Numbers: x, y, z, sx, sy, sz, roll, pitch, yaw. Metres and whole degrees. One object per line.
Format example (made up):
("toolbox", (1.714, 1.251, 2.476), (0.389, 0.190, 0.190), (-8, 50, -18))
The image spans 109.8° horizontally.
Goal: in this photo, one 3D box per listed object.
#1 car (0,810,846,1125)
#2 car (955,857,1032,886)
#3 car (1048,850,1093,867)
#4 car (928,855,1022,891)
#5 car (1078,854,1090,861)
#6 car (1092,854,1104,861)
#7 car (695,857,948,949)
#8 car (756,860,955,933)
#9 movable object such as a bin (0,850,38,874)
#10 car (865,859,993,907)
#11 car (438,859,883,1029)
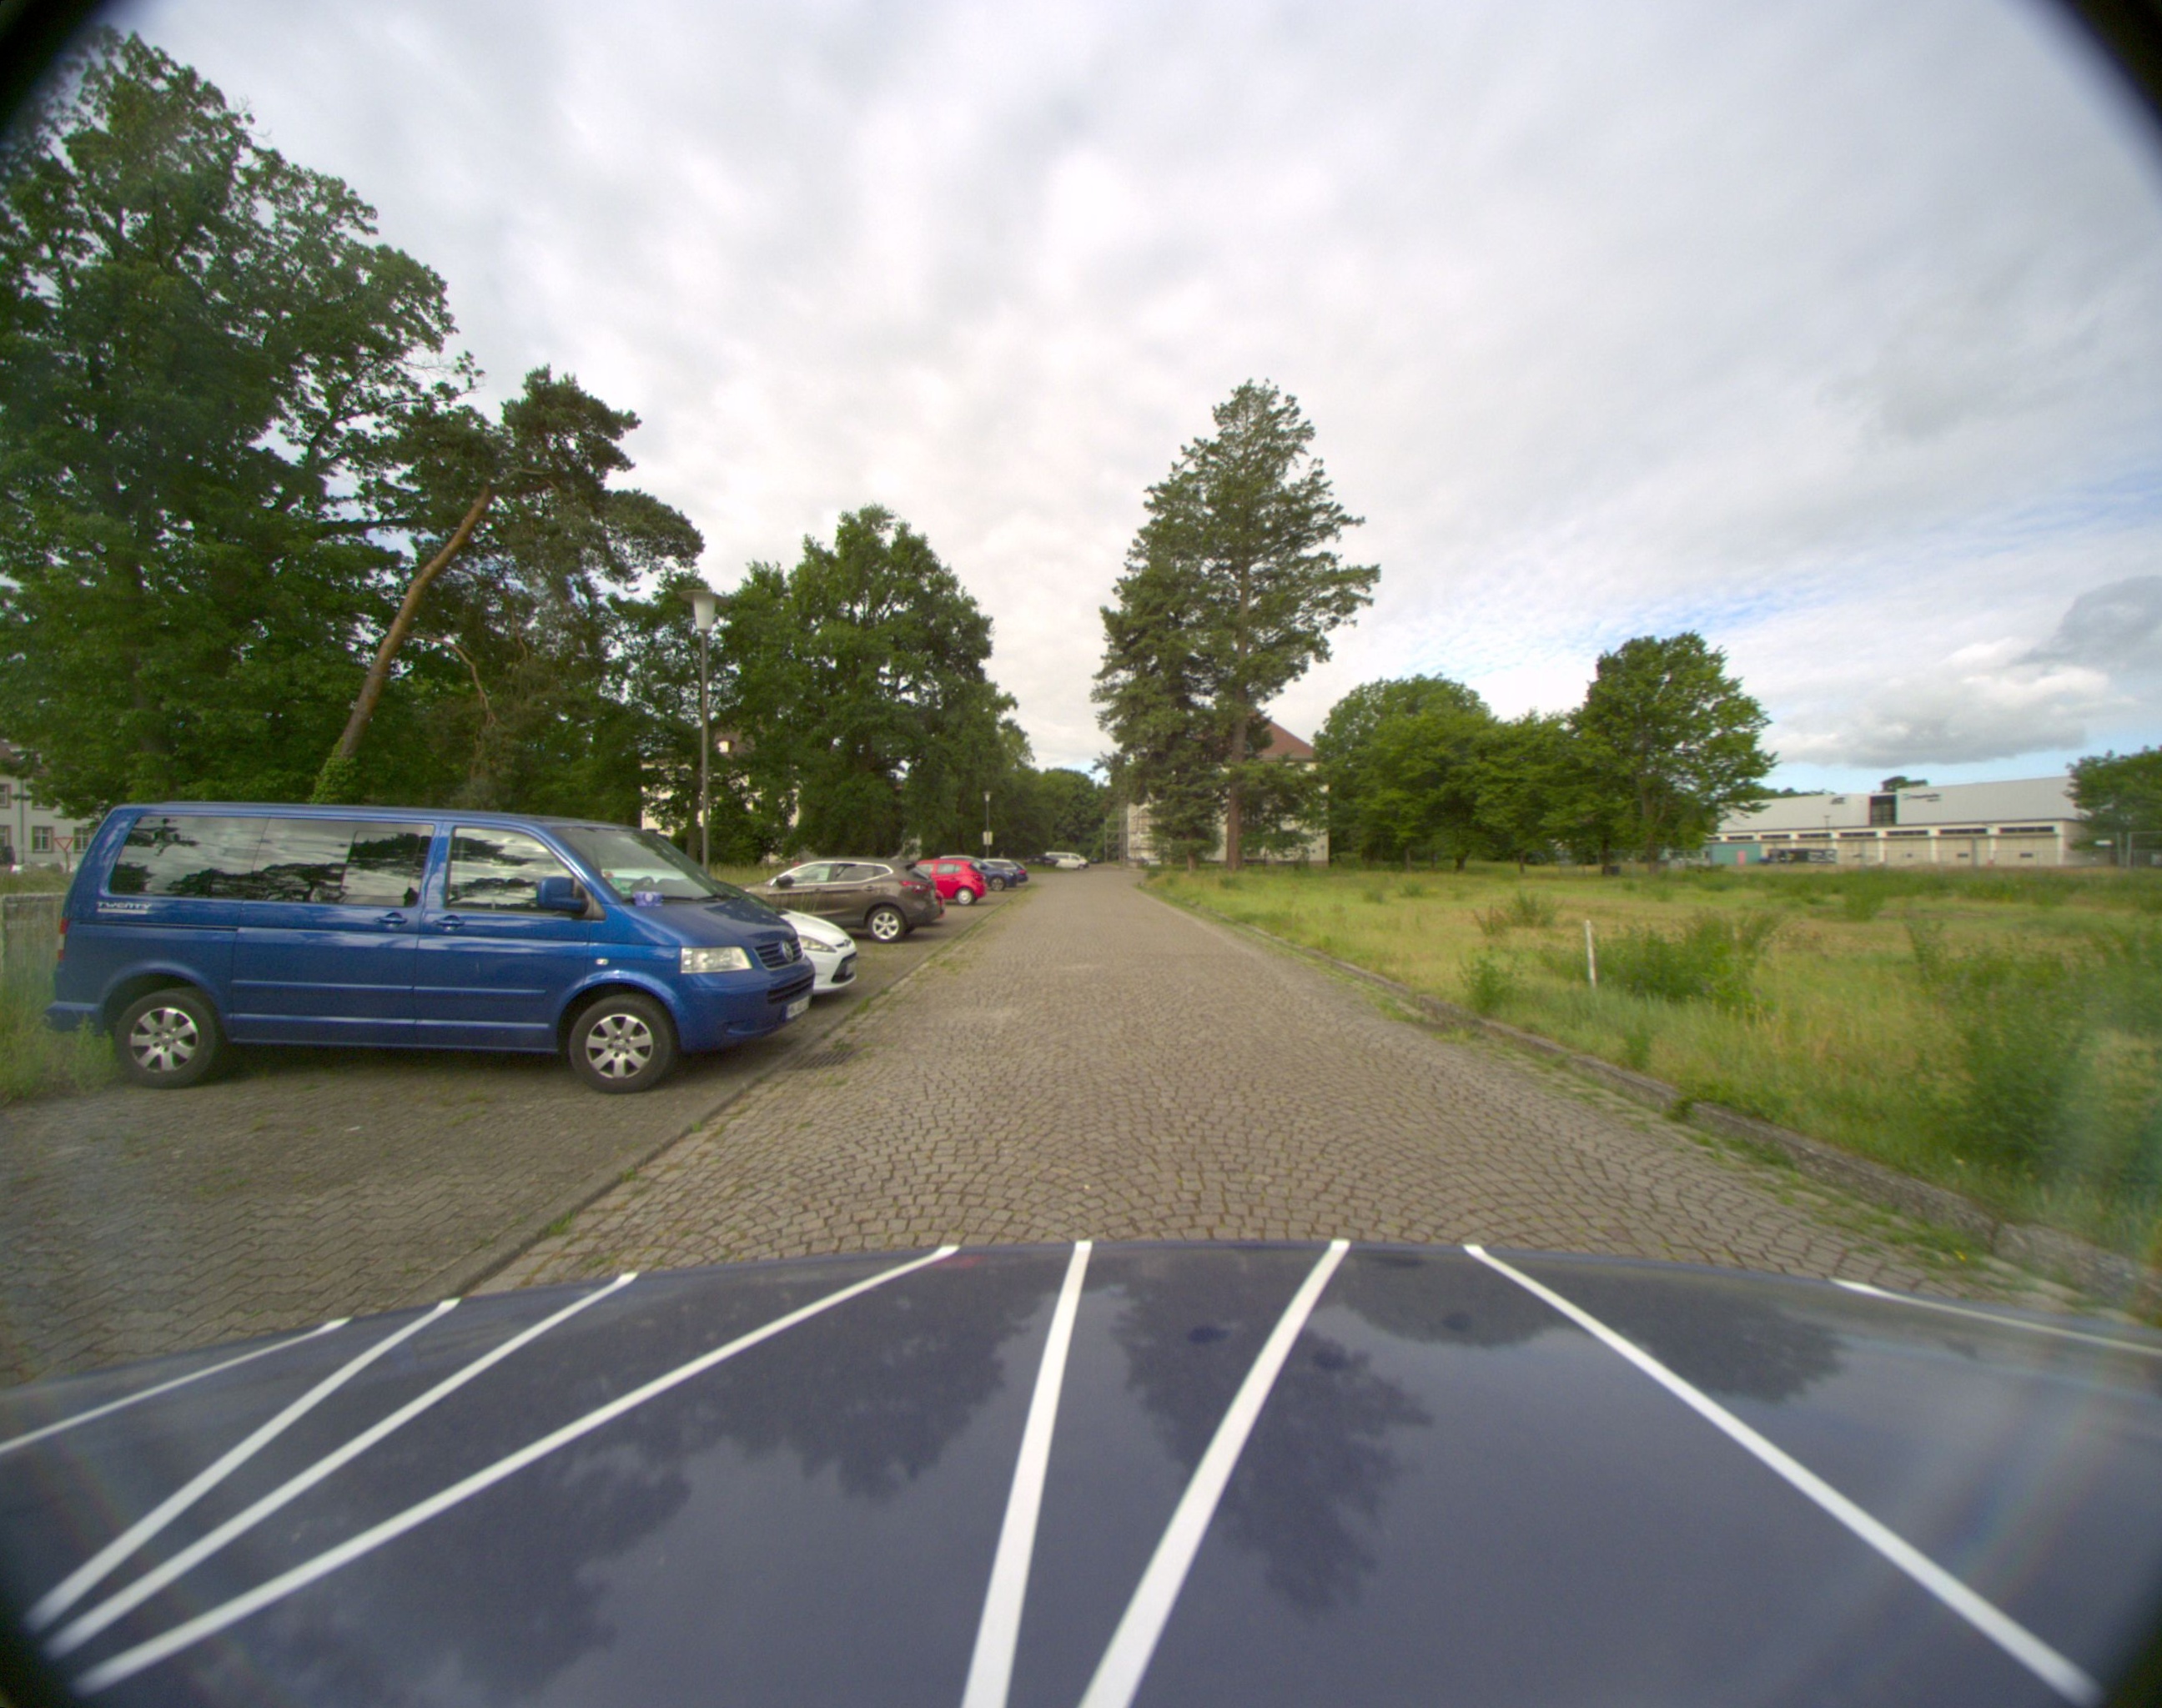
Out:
("car", (-4.578, 0.756, 5.943), (4.820, 1.934, 2.003), (2, 0, -2))
("car", (-4.553, 0.909, 39.959), (3.878, 1.417, 1.582), (1, 0, -2))
("car", (-1.200, 0.524, 88.789), (5.141, 1.860, 1.723), (1, 0, -2))
("car", (-4.871, 0.855, 35.296), (4.150, 1.529, 1.582), (1, 0, -2))
("car", (0.596, 0.732, 155.221), (1.870, 1.408, 4.694), (2, 0, -5))
("car", (3.479, 0.687, 155.791), (1.870, 1.408, 4.694), (2, 0, -5))
("car", (-4.890, 0.899, 14.777), (4.271, 1.589, 1.821), (1, 0, -2))
("car", (-5.079, 0.937, 17.503), (4.016, 1.477, 1.765), (1, 0, 0))
("movable object such as a bin", (-90.674, 0.669, 63.979), (1.553, 2.002, 2.985), (0, 0, 0))
("car", (-4.956, 0.944, 25.054), (3.895, 1.451, 1.582), (1, 0, -2))
("car", (-4.423, 0.914, 8.511), (3.873, 1.463, 1.841), (4, 0, -2))
